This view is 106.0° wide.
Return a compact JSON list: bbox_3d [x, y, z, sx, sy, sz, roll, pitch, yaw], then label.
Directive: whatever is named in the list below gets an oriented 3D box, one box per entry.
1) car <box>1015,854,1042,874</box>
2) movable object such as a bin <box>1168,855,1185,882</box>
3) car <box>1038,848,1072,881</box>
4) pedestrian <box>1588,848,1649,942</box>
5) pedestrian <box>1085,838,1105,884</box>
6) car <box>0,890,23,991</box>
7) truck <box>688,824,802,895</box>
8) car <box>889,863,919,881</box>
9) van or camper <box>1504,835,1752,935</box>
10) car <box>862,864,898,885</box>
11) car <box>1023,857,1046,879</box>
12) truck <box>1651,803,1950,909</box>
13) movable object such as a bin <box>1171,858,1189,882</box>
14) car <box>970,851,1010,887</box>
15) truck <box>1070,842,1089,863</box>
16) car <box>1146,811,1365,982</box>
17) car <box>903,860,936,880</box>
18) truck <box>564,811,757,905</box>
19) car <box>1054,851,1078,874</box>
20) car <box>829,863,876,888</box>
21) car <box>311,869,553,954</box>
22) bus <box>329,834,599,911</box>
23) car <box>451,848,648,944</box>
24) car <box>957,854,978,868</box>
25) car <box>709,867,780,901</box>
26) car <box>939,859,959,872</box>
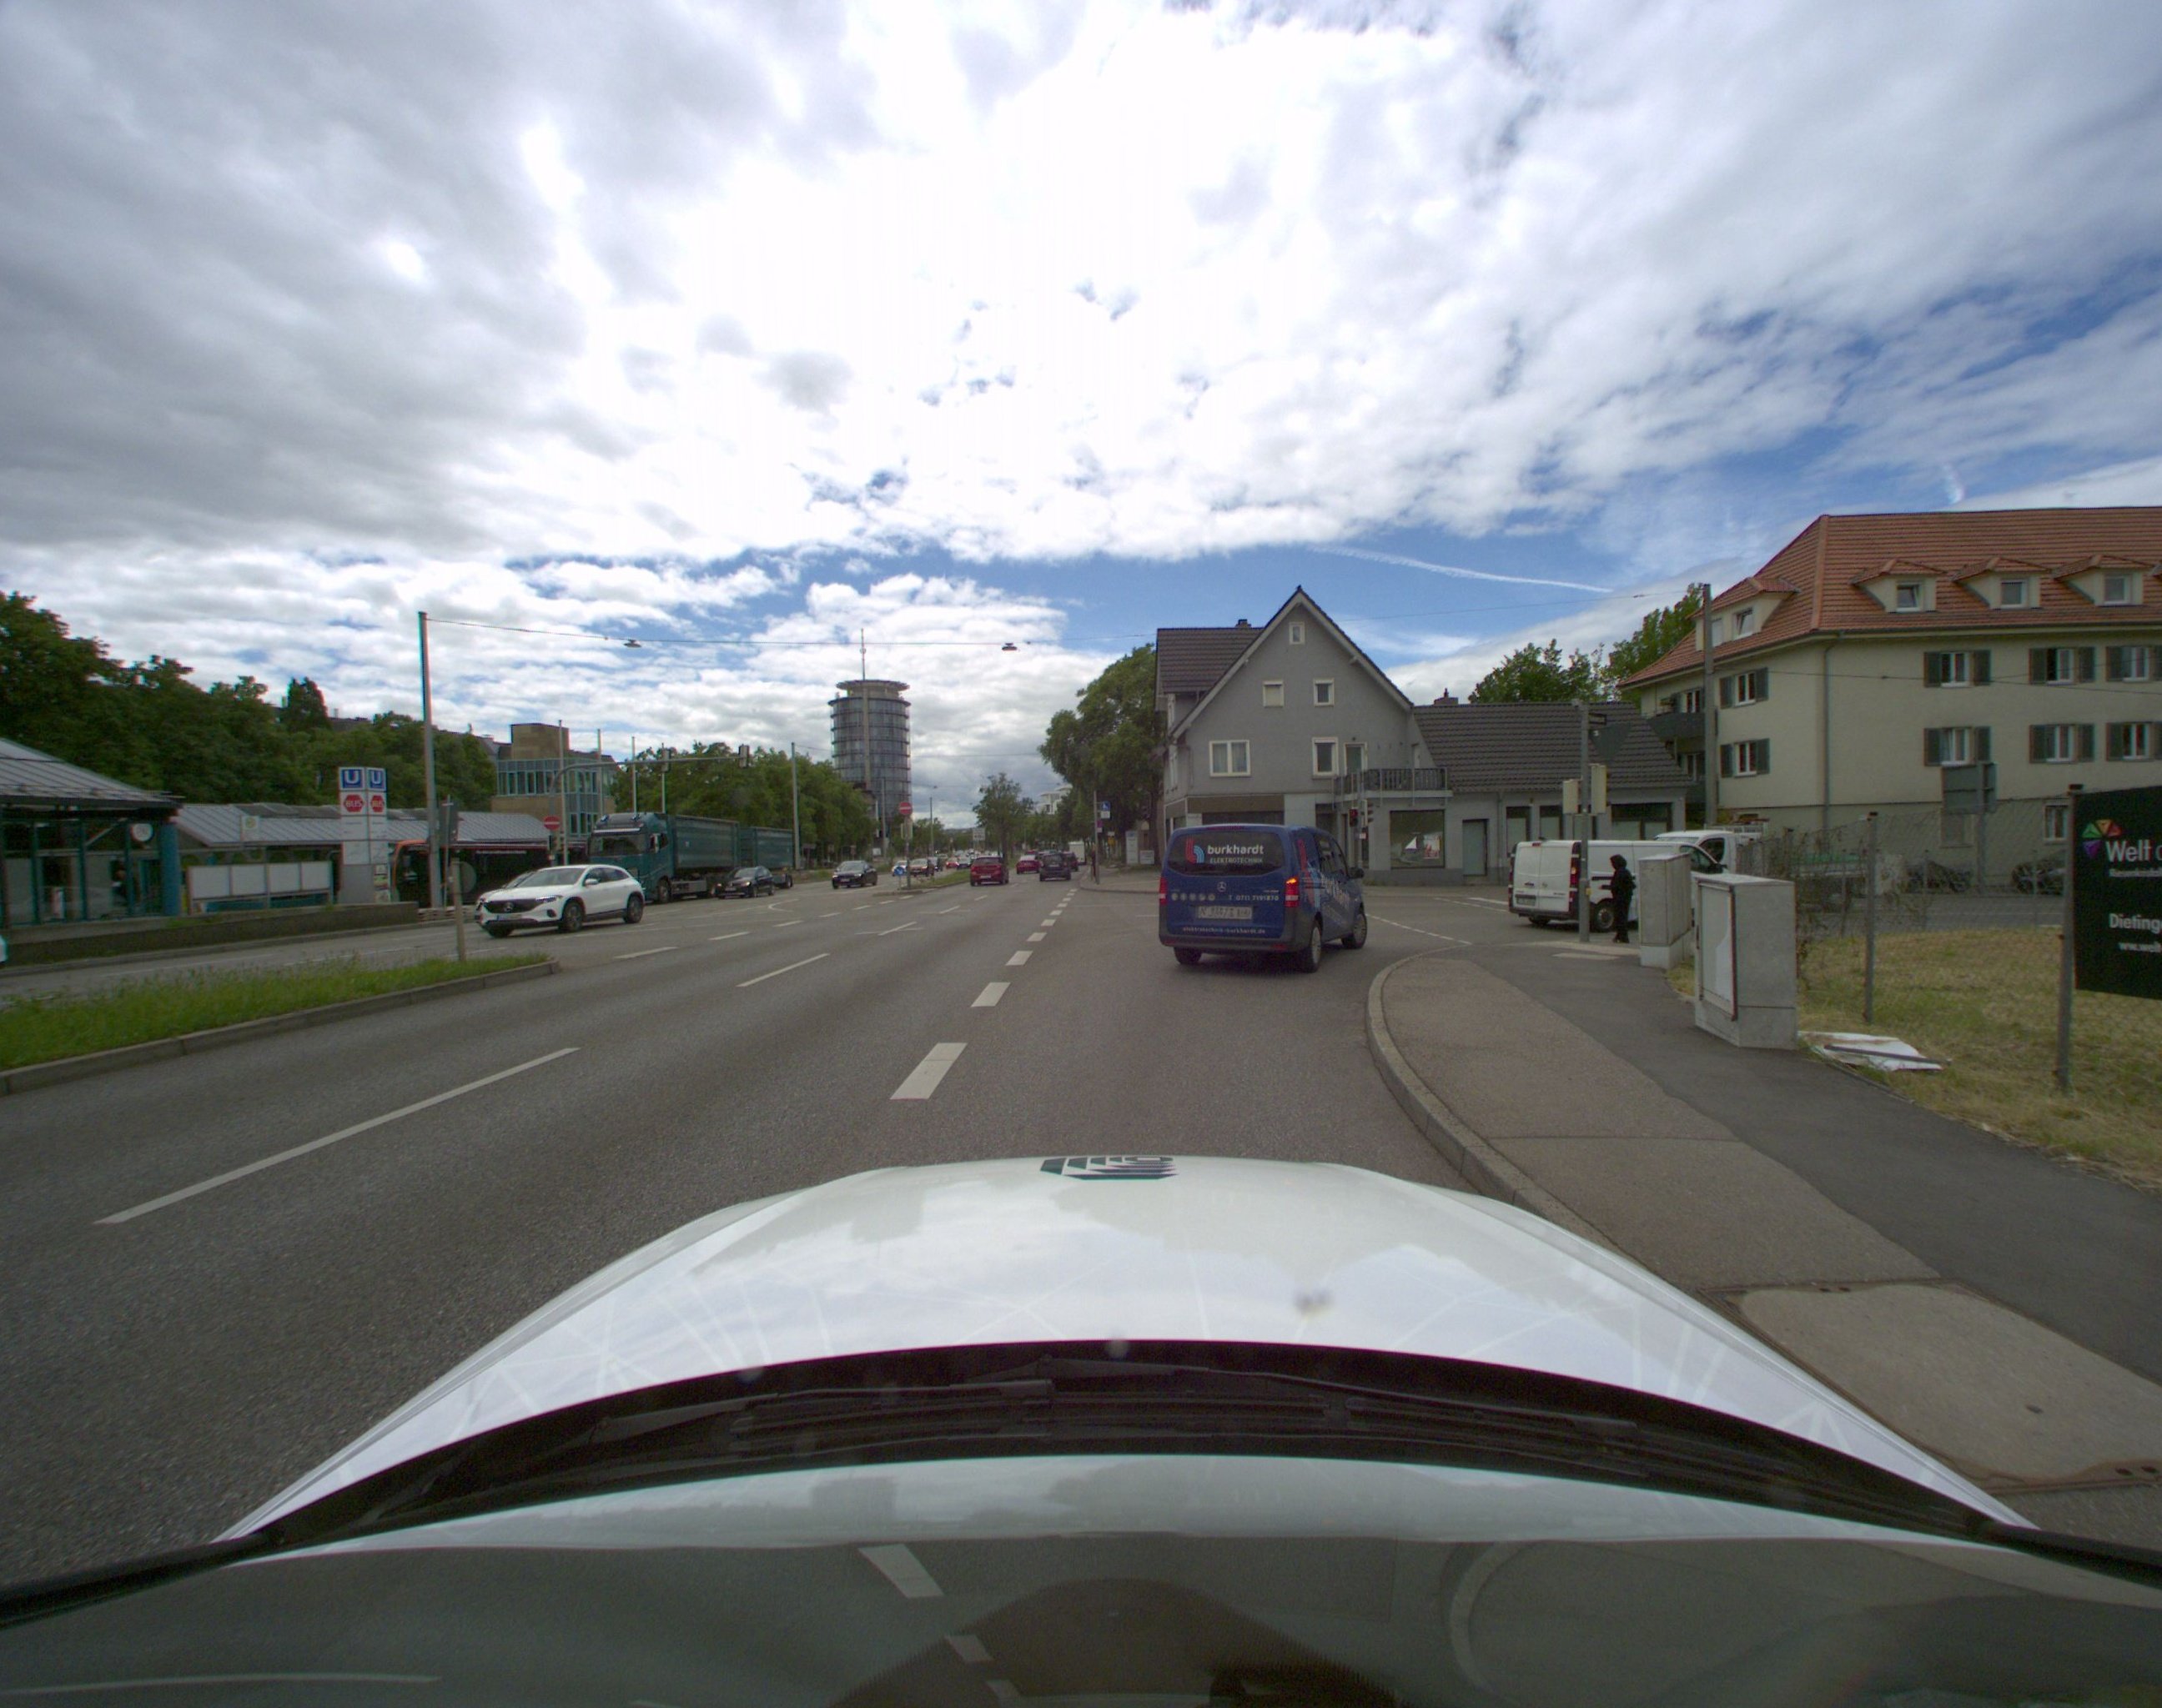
[{"bbox_3d":[-4.217,0.814,64.794,1.867,1.486,3.989,-2,-2,-7],"label":"car"},{"bbox_3d":[4.090,0.624,34.853,0.596,1.101,0.572,-2,0,-7],"label":"movable object such as a bin"},{"bbox_3d":[-1.432,0.552,45.710,1.741,1.723,3.997,-2,0,-2],"label":"car"},{"bbox_3d":[9.392,0.713,14.243,0.603,1.597,0.609,-1,-3,-1],"label":"pedestrian"},{"bbox_3d":[0.656,0.319,37.142,0.767,2.013,0.879,-2,0,6],"label":"pedestrian"},{"bbox_3d":[-17.946,1.396,10.875,1.727,1.574,4.505,-2,0,-1],"label":"car"},{"bbox_3d":[-19.609,0.330,48.193,3.358,3.727,8.024,-2,0,0],"label":"truck"},{"bbox_3d":[-16.854,1.730,77.863,1.988,1.574,3.998,-2,0,-1],"label":"car"},{"bbox_3d":[12.297,0.589,18.339,5.094,2.013,1.988,0,1,-19],"label":"van or camper"},{"bbox_3d":[-16.413,1.638,66.645,1.988,1.574,3.998,-2,0,-1],"label":"car"},{"bbox_3d":[-4.620,1.392,80.853,1.992,2.013,3.990,0,1,-7],"label":"car"},{"bbox_3d":[19.358,0.055,22.134,6.364,2.701,2.000,1,-1,0],"label":"truck"},{"bbox_3d":[4.177,0.653,34.254,0.596,0.987,0.572,-2,0,-7],"label":"movable object such as a bin"},{"bbox_3d":[-4.687,0.742,42.359,1.742,1.723,3.996,-2,0,-2],"label":"car"},{"bbox_3d":[-0.130,-0.134,89.539,1.986,2.166,5.561,0,0,2],"label":"truck"},{"bbox_3d":[2.743,0.491,11.837,1.929,1.965,4.569,-1,0,28],"label":"car"},{"bbox_3d":[-13.474,1.323,68.121,1.988,1.516,3.997,-2,0,-2],"label":"car"},{"bbox_3d":[-19.055,0.213,38.181,3.358,3.727,11.273,-1,-1,-1],"label":"truck"},{"bbox_3d":[-1.179,0.696,65.131,1.741,1.723,3.998,-2,0,-1],"label":"car"},{"bbox_3d":[-13.199,1.210,47.296,1.992,1.332,4.433,-2,0,-8],"label":"car"},{"bbox_3d":[-15.208,1.244,19.585,1.762,1.585,5.261,-3,0,-4],"label":"car"},{"bbox_3d":[-29.181,0.812,39.808,2.942,3.133,12.180,-1,-1,6],"label":"bus"},{"bbox_3d":[-12.743,0.918,19.915,1.987,2.013,4.178,-2,0,0],"label":"car"},{"bbox_3d":[-13.428,0.859,96.678,1.988,1.574,3.998,-2,0,-1],"label":"car"},{"bbox_3d":[-15.933,1.405,38.790,1.792,1.417,3.997,-2,0,-2],"label":"car"},{"bbox_3d":[-17.290,1.530,106.942,1.988,1.574,3.997,-2,0,-2],"label":"car"}]
